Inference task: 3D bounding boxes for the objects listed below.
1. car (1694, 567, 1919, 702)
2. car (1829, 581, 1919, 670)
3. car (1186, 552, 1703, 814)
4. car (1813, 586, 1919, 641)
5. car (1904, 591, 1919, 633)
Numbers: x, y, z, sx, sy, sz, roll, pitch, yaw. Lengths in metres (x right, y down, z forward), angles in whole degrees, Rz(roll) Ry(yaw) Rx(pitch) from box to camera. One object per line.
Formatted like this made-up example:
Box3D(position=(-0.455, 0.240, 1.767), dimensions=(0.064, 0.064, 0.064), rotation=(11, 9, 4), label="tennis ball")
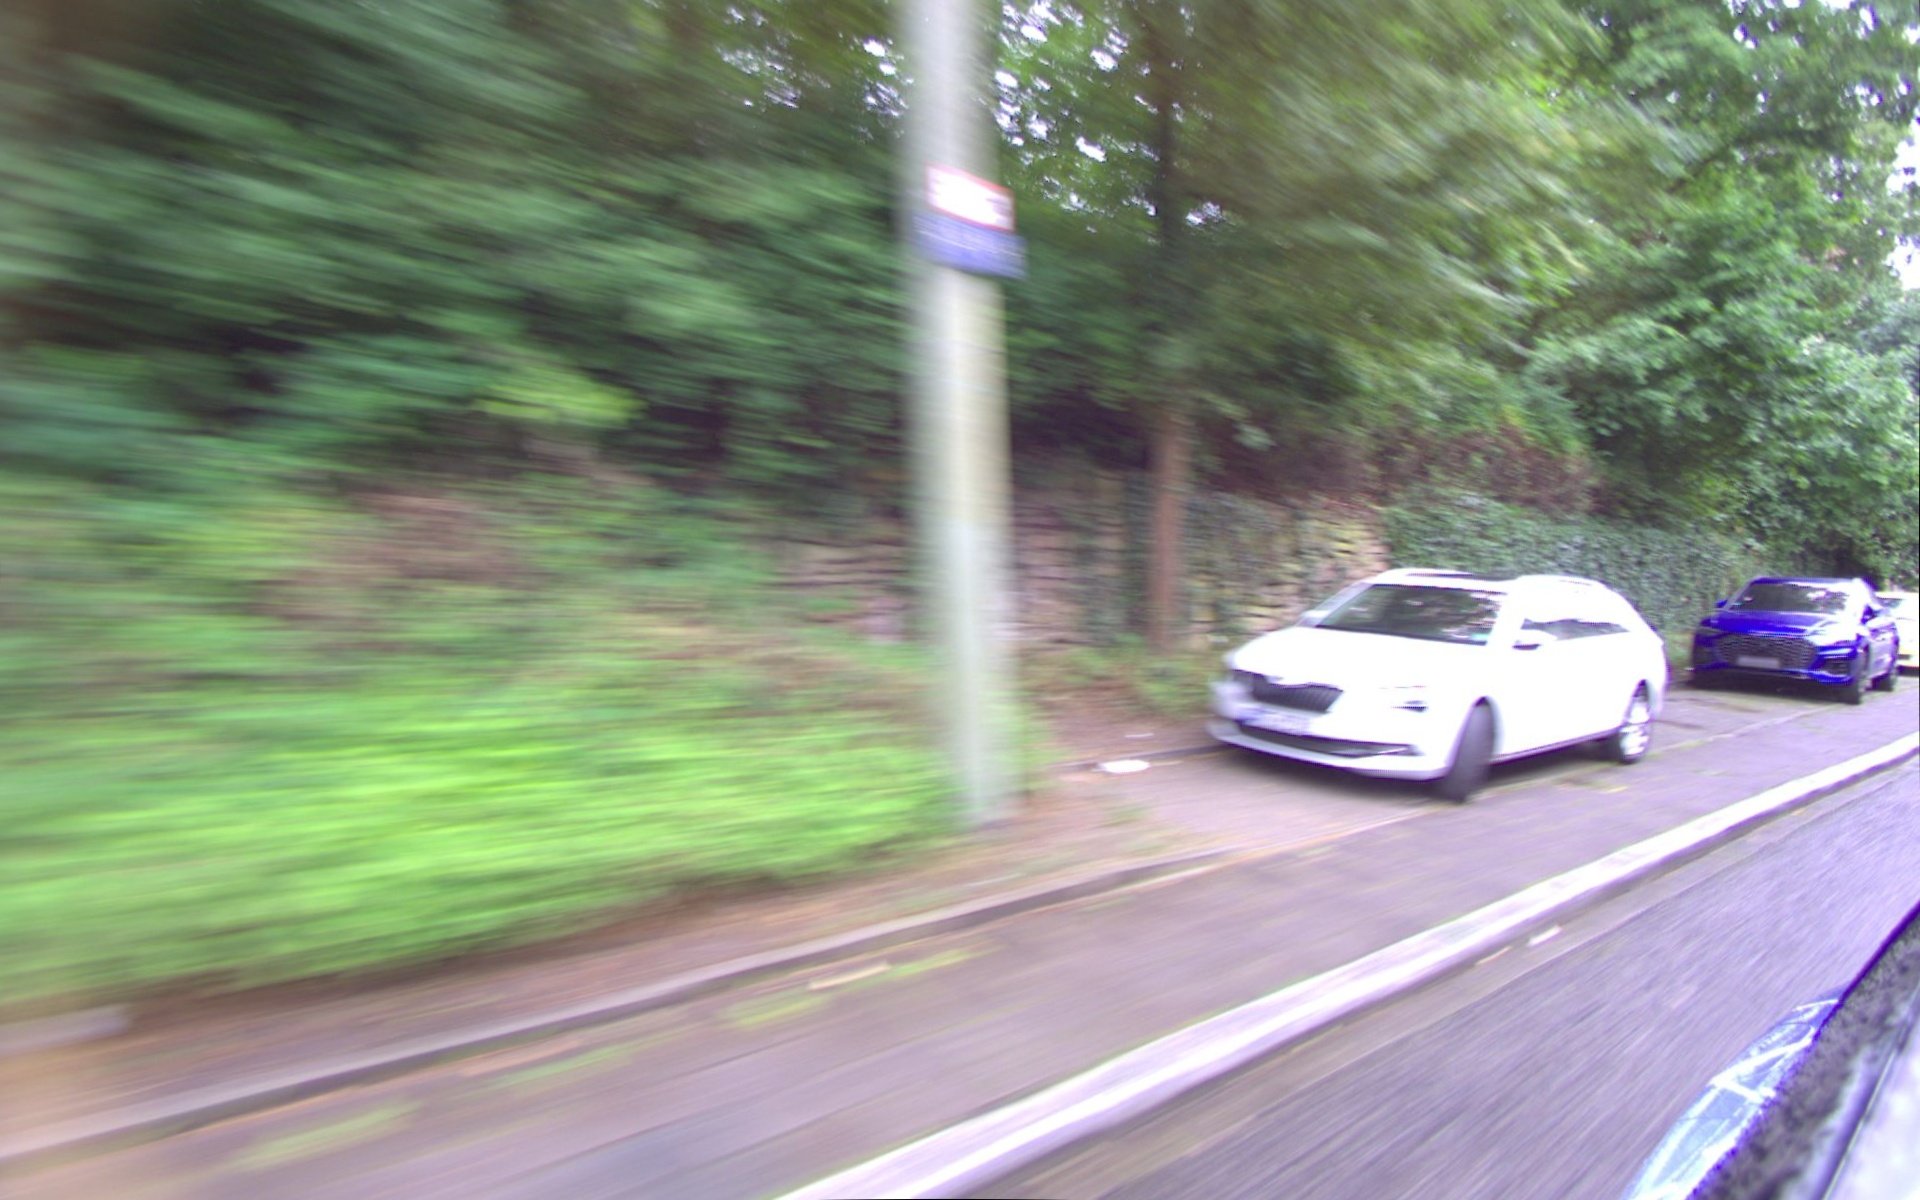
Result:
Box3D(position=(12.443, 0.381, 14.706), dimensions=(4.596, 1.643, 1.769), rotation=(-1, 2, -40), label="car")
Box3D(position=(18.076, 0.447, 19.227), dimensions=(3.827, 1.485, 1.569), rotation=(0, 4, -38), label="car")
Box3D(position=(4.034, 0.458, 8.053), dimensions=(4.652, 1.495, 1.744), rotation=(0, 3, -38), label="car")
Box3D(position=(28.672, 0.390, 30.572), dimensions=(1.770, 1.614, 4.194), rotation=(0, 1, -38), label="car")
Box3D(position=(35.197, 0.536, 34.464), dimensions=(1.770, 1.433, 4.196), rotation=(0, 3, -38), label="car")
